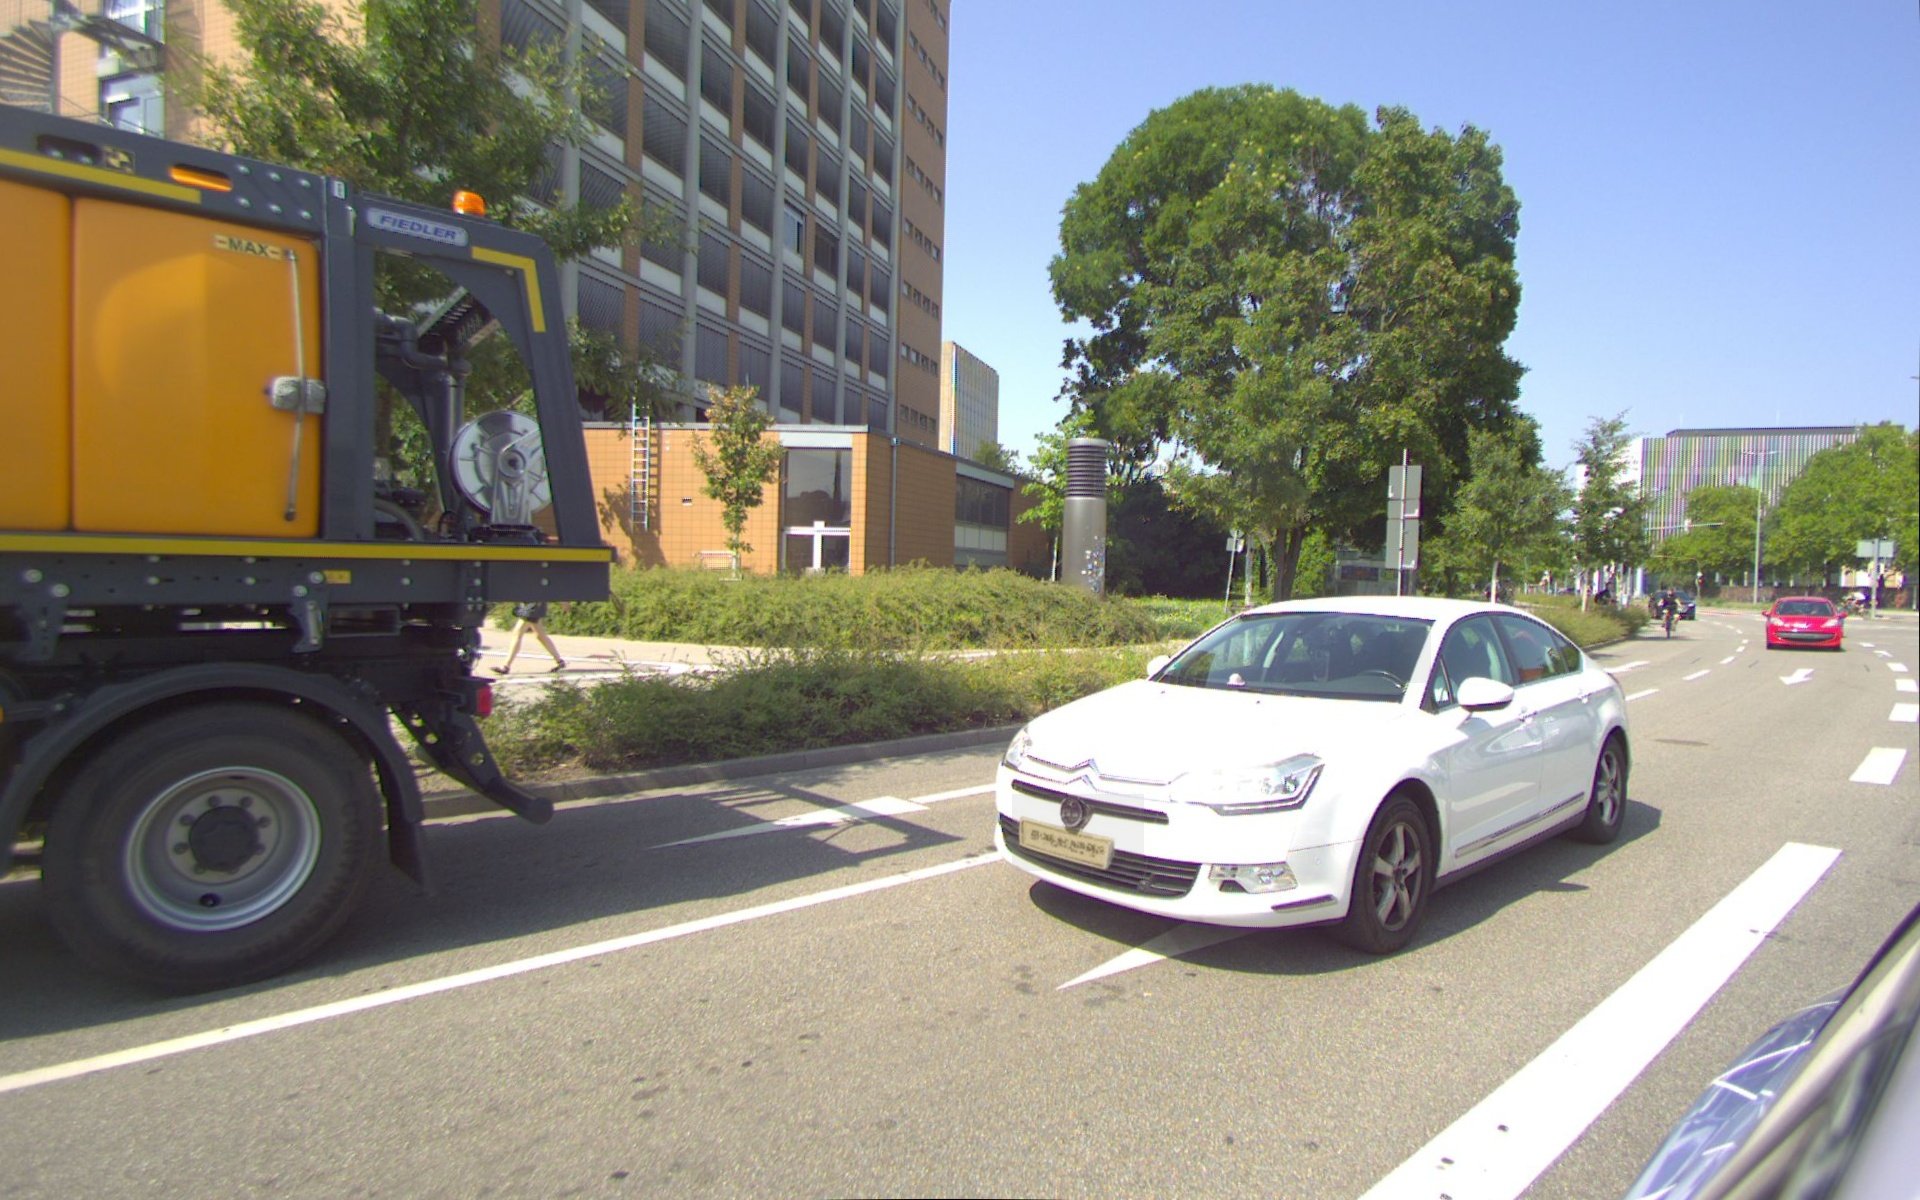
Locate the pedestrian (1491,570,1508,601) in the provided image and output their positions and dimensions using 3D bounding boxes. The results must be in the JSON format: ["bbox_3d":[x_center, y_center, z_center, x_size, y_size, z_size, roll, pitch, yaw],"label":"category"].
[{"bbox_3d":[23.040,-0.609,43.227,0.629,1.315,0.482,0,0,31],"label":"pedestrian"}]

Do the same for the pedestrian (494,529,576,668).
[{"bbox_3d":[-5.469,-0.032,13.016,0.792,1.720,0.671,0,1,-42],"label":"pedestrian"}]

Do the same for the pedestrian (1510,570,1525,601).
[{"bbox_3d":[23.593,-0.618,42.817,0.572,1.315,0.433,0,0,30],"label":"pedestrian"}]

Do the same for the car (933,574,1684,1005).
[{"bbox_3d":[2.190,0.626,5.587,4.526,1.446,1.773,0,2,-39],"label":"car"}]

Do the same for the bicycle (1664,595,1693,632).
[{"bbox_3d":[24.523,0.426,34.570,0.590,1.183,2.211,2,2,31],"label":"bicycle"}]

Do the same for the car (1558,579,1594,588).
[{"bbox_3d":[94.136,-2.477,154.748,4.352,1.405,1.765,0,0,12],"label":"car"}]

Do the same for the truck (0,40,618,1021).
[{"bbox_3d":[-4.922,-0.232,3.388,6.739,3.174,2.497,0,0,-40],"label":"truck"}]

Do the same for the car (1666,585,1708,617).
[{"bbox_3d":[40.542,0.015,56.498,1.800,1.682,3.949,3,3,35],"label":"car"}]

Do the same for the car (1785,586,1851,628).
[{"bbox_3d":[30.890,0.227,36.485,1.556,1.412,3.207,2,2,36],"label":"car"}]

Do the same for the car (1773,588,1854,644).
[{"bbox_3d":[24.120,0.410,28.560,1.644,1.449,3.758,1,1,42],"label":"car"}]

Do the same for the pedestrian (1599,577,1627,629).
[{"bbox_3d":[24.535,0.108,38.004,0.818,1.926,0.623,2,1,36],"label":"pedestrian"}]

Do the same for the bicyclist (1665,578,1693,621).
[{"bbox_3d":[24.577,-0.024,34.612,0.674,1.417,1.038,2,1,31],"label":"bicyclist"}]
